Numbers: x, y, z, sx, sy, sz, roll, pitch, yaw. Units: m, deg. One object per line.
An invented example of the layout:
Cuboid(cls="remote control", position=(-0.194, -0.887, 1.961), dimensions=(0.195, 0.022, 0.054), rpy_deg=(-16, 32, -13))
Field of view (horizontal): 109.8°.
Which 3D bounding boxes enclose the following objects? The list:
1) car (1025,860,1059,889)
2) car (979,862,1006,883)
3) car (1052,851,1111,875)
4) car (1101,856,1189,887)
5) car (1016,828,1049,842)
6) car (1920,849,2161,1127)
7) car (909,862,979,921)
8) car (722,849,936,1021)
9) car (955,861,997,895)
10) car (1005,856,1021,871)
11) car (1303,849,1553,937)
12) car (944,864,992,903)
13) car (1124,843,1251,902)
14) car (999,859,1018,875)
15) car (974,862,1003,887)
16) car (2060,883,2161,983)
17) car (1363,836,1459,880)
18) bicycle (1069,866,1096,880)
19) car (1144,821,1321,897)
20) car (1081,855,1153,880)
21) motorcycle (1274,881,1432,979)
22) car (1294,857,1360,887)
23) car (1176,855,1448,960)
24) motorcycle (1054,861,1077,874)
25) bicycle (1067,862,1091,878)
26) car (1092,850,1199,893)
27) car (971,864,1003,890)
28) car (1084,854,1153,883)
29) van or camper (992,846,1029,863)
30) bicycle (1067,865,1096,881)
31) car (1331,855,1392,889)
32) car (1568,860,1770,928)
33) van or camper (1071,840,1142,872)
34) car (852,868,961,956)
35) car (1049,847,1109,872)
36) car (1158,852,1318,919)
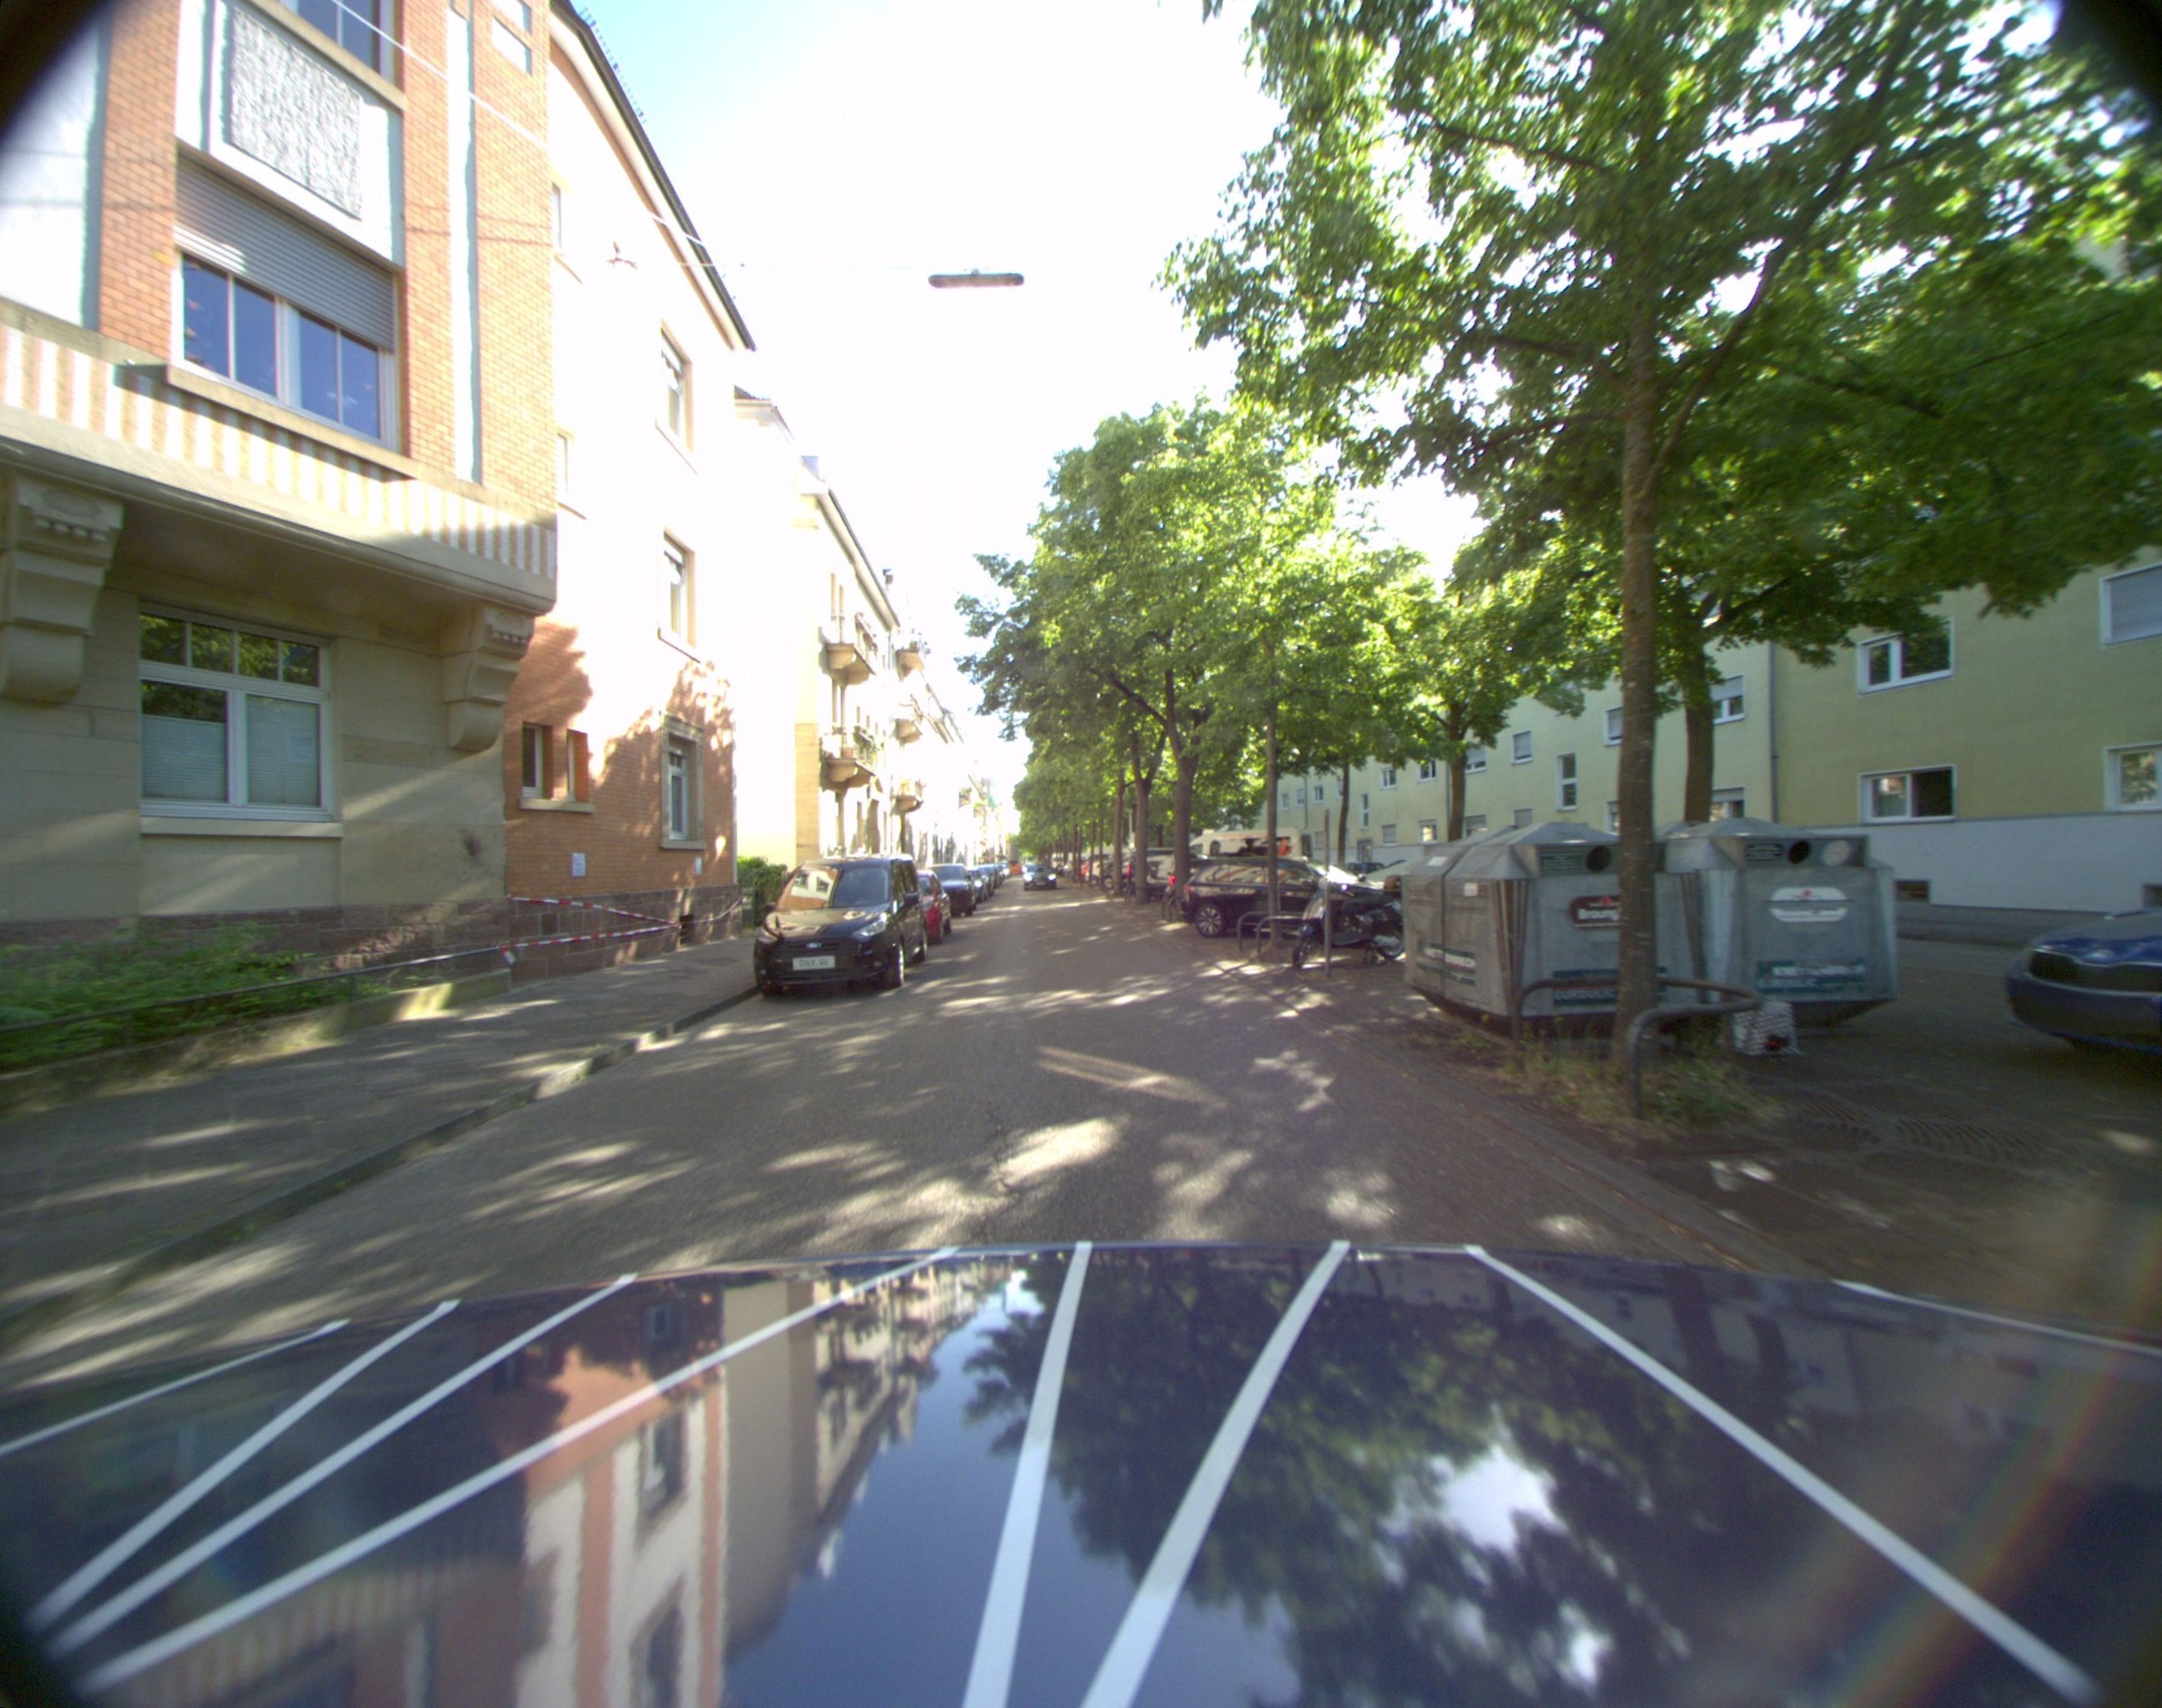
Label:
Cuboid(cls="car", position=(-2.109, 1.116, 42.399), dimensions=(1.792, 1.510, 3.999), rpy_deg=(-1, 0, -2))
Cuboid(cls="car", position=(-6.530, 1.360, 56.485), dimensions=(1.775, 1.423, 4.289), rpy_deg=(-2, 0, -4))
Cuboid(cls="car", position=(0.046, 0.712, 58.352), dimensions=(4.080, 1.643, 1.866), rpy_deg=(-2, 0, 23))
Cuboid(cls="car", position=(3.254, 0.886, 38.653), dimensions=(4.099, 1.473, 1.735), rpy_deg=(-1, 1, 27))
Cuboid(cls="car", position=(-6.600, -2.529, 103.804), dimensions=(4.091, 1.516, 1.705), rpy_deg=(-5, -2, 26))
Cuboid(cls="car", position=(7.657, 0.687, 4.230), dimensions=(3.794, 1.457, 1.646), rpy_deg=(-1, 0, 10))
Cuboid(cls="car", position=(-4.342, 1.136, 24.701), dimensions=(1.870, 1.634, 4.489), rpy_deg=(-3, 0, -6))
Cuboid(cls="car", position=(-3.327, 0.943, 10.986), dimensions=(1.806, 1.860, 4.271), rpy_deg=(-4, 0, -4))
Cuboid(cls="car", position=(-4.996, 1.106, 36.620), dimensions=(1.810, 1.554, 4.318), rpy_deg=(0, 0, -5))
Cuboid(cls="car", position=(-6.878, 0.968, 76.866), dimensions=(1.611, 1.412, 4.566), rpy_deg=(-1, 0, -5))
Cuboid(cls="car", position=(6.701, 0.738, 15.084), dimensions=(4.097, 1.458, 1.867), rpy_deg=(-3, 0, 6))
Cuboid(cls="car", position=(-4.657, 1.183, 31.707), dimensions=(1.594, 1.407, 3.631), rpy_deg=(-3, 0, -3))
Cuboid(cls="car", position=(3.614, 0.645, 25.976), dimensions=(3.841, 1.877, 1.847), rpy_deg=(-2, -1, 31))
Cuboid(cls="car", position=(-7.008, 1.256, 73.616), dimensions=(1.604, 1.484, 3.965), rpy_deg=(1, 0, -3))
Cuboid(cls="car", position=(-6.294, 1.354, 51.991), dimensions=(1.772, 1.542, 4.182), rpy_deg=(-3, 0, -5))
Cuboid(cls="car", position=(15.484, 1.098, 9.536), dimensions=(1.590, 1.313, 3.640), rpy_deg=(1, 0, -4))
Cuboid(cls="car", position=(13.842, 0.170, 32.178), dimensions=(1.746, 1.712, 4.556), rpy_deg=(0, 0, -5))
Cuboid(cls="bicycle", position=(0.121, 1.383, 54.490), dimensions=(1.900, 0.913, 0.379), rpy_deg=(-2, 0, 16))
Cuboid(cls="car", position=(5.653, 0.237, 28.597), dimensions=(6.068, 2.606, 2.461), rpy_deg=(0, -2, 30))
Cuboid(cls="car", position=(2.442, 0.919, 52.333), dimensions=(4.629, 1.477, 1.759), rpy_deg=(-2, 0, -9))
Cuboid(cls="motorcycle", position=(3.538, 0.961, 9.900), dimensions=(1.945, 1.164, 0.518), rpy_deg=(-1, 0, -12))
Cuboid(cls="car", position=(13.432, 0.964, 41.777), dimensions=(1.898, 1.556, 4.158), rpy_deg=(0, 0, -6))
Cuboid(cls="car", position=(3.946, 0.830, 13.276), dimensions=(4.142, 1.545, 1.837), rpy_deg=(-1, 0, 37))
Cuboid(cls="motorcycle", position=(-1.523, 1.319, 74.858), dimensions=(2.152, 1.222, 0.882), rpy_deg=(-1, 0, 5))
Cuboid(cls="bicycle", position=(-0.161, 1.182, 56.570), dimensions=(1.688, 1.152, 0.379), rpy_deg=(-2, 1, 16))
Cuboid(cls="car", position=(2.788, 0.769, 33.086), dimensions=(4.265, 1.632, 1.658), rpy_deg=(-3, 0, 28))
Cuboid(cls="car", position=(-5.778, 1.383, 47.244), dimensions=(1.697, 1.459, 4.003), rpy_deg=(-2, 0, -4))
Cuboid(cls="car", position=(2.279, 0.857, 45.704), dimensions=(3.686, 1.586, 1.775), rpy_deg=(-2, 0, 21))
Cuboid(cls="van or camper", position=(-12.208, 0.133, 131.843), dimensions=(6.018, 2.984, 2.404), rpy_deg=(-1, 0, 24))
Cuboid(cls="bicycle", position=(0.059, 1.234, 50.182), dimensions=(1.813, 0.988, 0.426), rpy_deg=(-3, 0, 13))
Cuboid(cls="car", position=(13.722, 0.859, 37.329), dimensions=(1.479, 1.550, 3.183), rpy_deg=(-3, 0, -6))
Cuboid(cls="car", position=(15.127, 0.943, 19.881), dimensions=(1.779, 1.486, 4.143), rpy_deg=(-2, 0, -6))
Cuboid(cls="van or camper", position=(2.448, 0.191, 73.506), dimensions=(6.291, 2.808, 2.411), rpy_deg=(-2, 0, 25))
Cuboid(cls="car", position=(-3.701, 1.168, 16.788), dimensions=(1.650, 1.528, 3.998), rpy_deg=(-4, 0, -4))
Cuboid(cls="car", position=(-0.273, 0.625, 85.674), dimensions=(6.312, 2.544, 2.342), rpy_deg=(-2, 1, 28))
Cuboid(cls="car", position=(4.080, 0.801, 19.788), dimensions=(3.728, 1.572, 1.639), rpy_deg=(-2, 0, 27))
